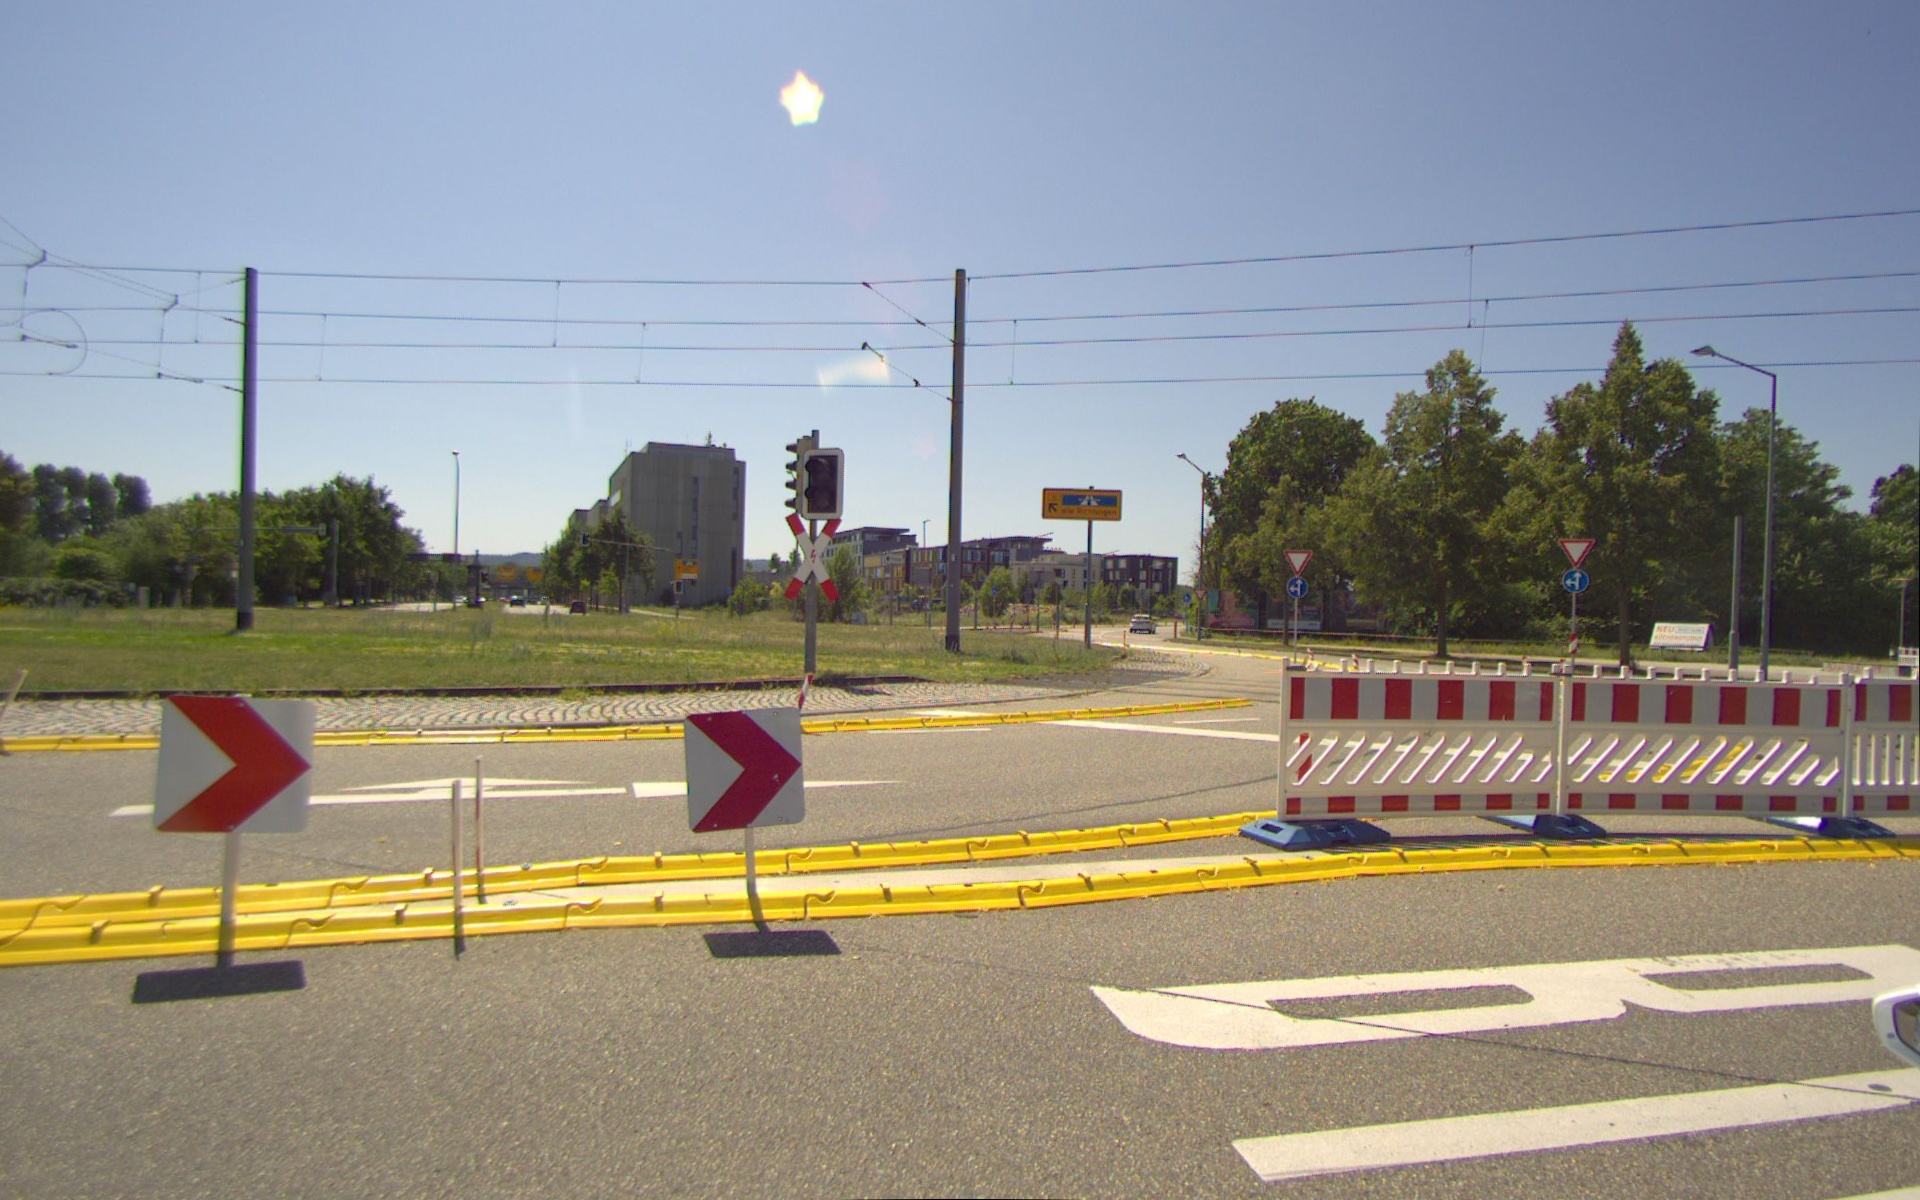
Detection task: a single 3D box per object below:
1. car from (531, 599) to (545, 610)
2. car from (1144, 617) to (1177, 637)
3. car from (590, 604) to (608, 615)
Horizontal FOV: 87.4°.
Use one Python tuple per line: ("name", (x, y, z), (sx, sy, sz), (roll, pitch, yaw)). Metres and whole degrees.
("car", (-56.009, 0.570, 133.301), (1.735, 1.427, 3.381), (2, 0, -23))
("car", (16.253, 2.166, 81.290), (1.961, 1.506, 4.366), (1, 0, 21))
("car", (-38.815, 0.977, 107.931), (1.478, 1.104, 3.497), (2, 0, -26))
